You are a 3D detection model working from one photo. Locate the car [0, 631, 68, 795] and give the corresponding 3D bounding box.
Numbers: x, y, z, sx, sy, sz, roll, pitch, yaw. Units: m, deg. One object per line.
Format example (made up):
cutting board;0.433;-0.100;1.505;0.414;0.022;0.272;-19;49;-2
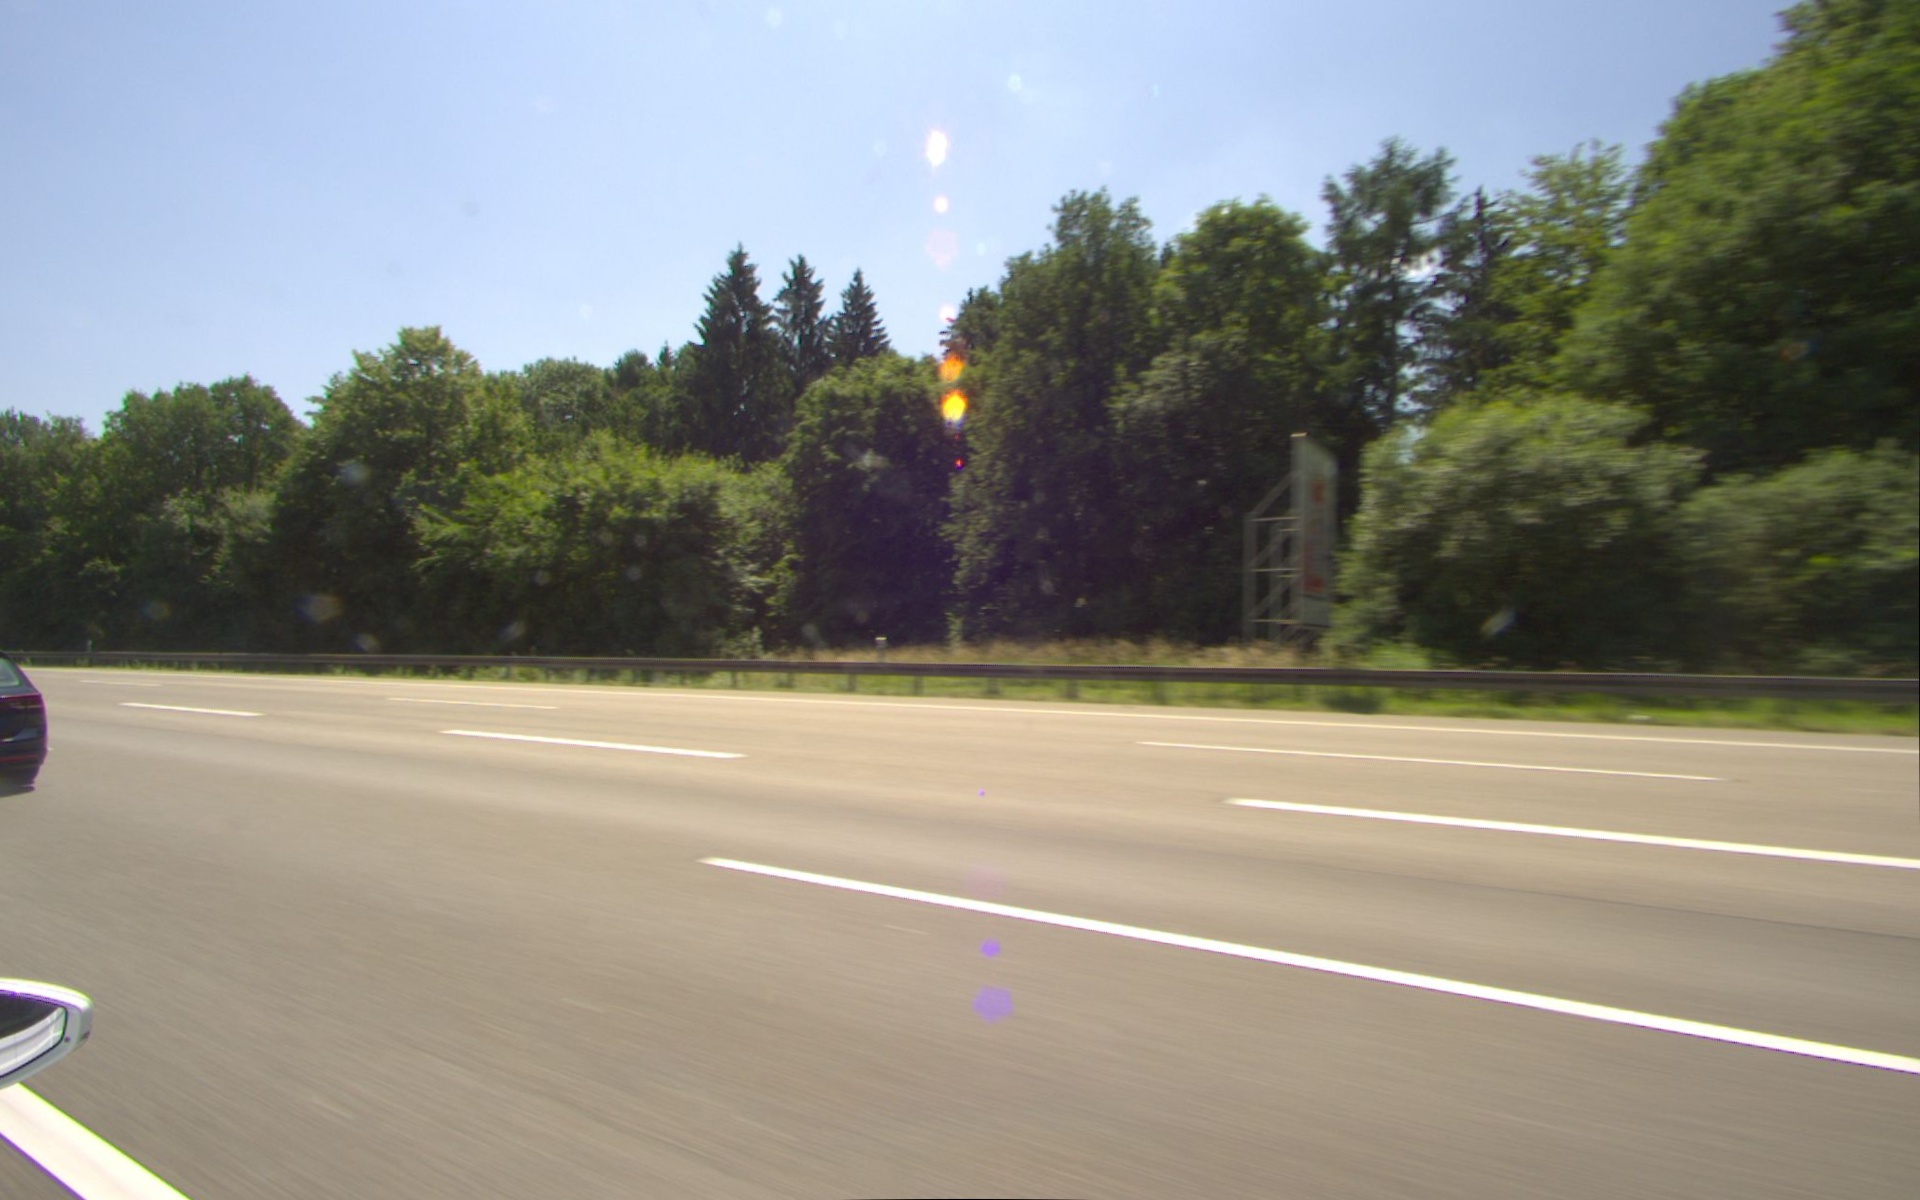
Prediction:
car;-10.895;1.037;9.967;4.890;1.466;1.727;-1;-2;32
